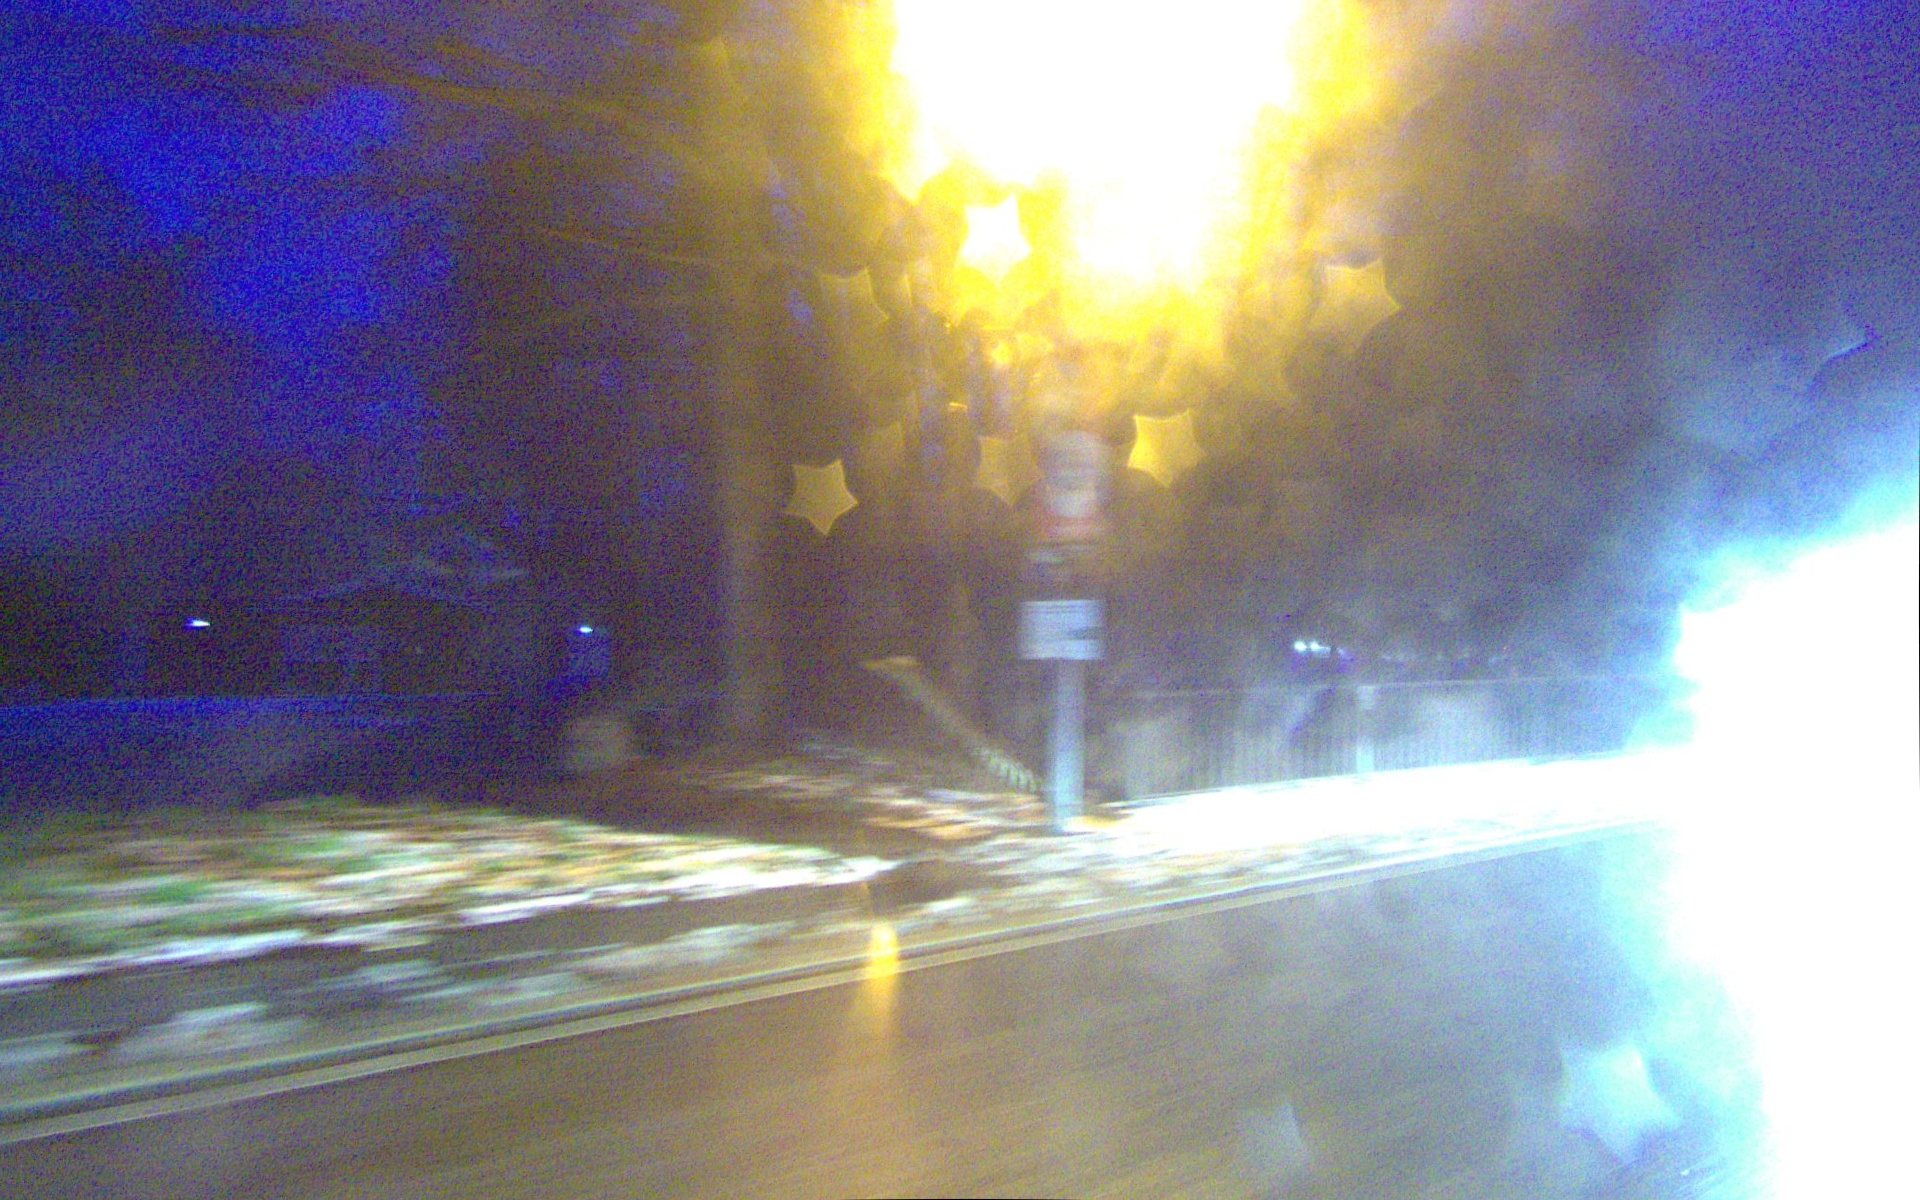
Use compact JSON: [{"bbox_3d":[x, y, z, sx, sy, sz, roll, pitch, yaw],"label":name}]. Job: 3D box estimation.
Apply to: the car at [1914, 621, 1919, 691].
[{"bbox_3d":[10.758,0.970,9.049,4.302,1.564,1.867,2,-6,-29],"label":"car"}]
